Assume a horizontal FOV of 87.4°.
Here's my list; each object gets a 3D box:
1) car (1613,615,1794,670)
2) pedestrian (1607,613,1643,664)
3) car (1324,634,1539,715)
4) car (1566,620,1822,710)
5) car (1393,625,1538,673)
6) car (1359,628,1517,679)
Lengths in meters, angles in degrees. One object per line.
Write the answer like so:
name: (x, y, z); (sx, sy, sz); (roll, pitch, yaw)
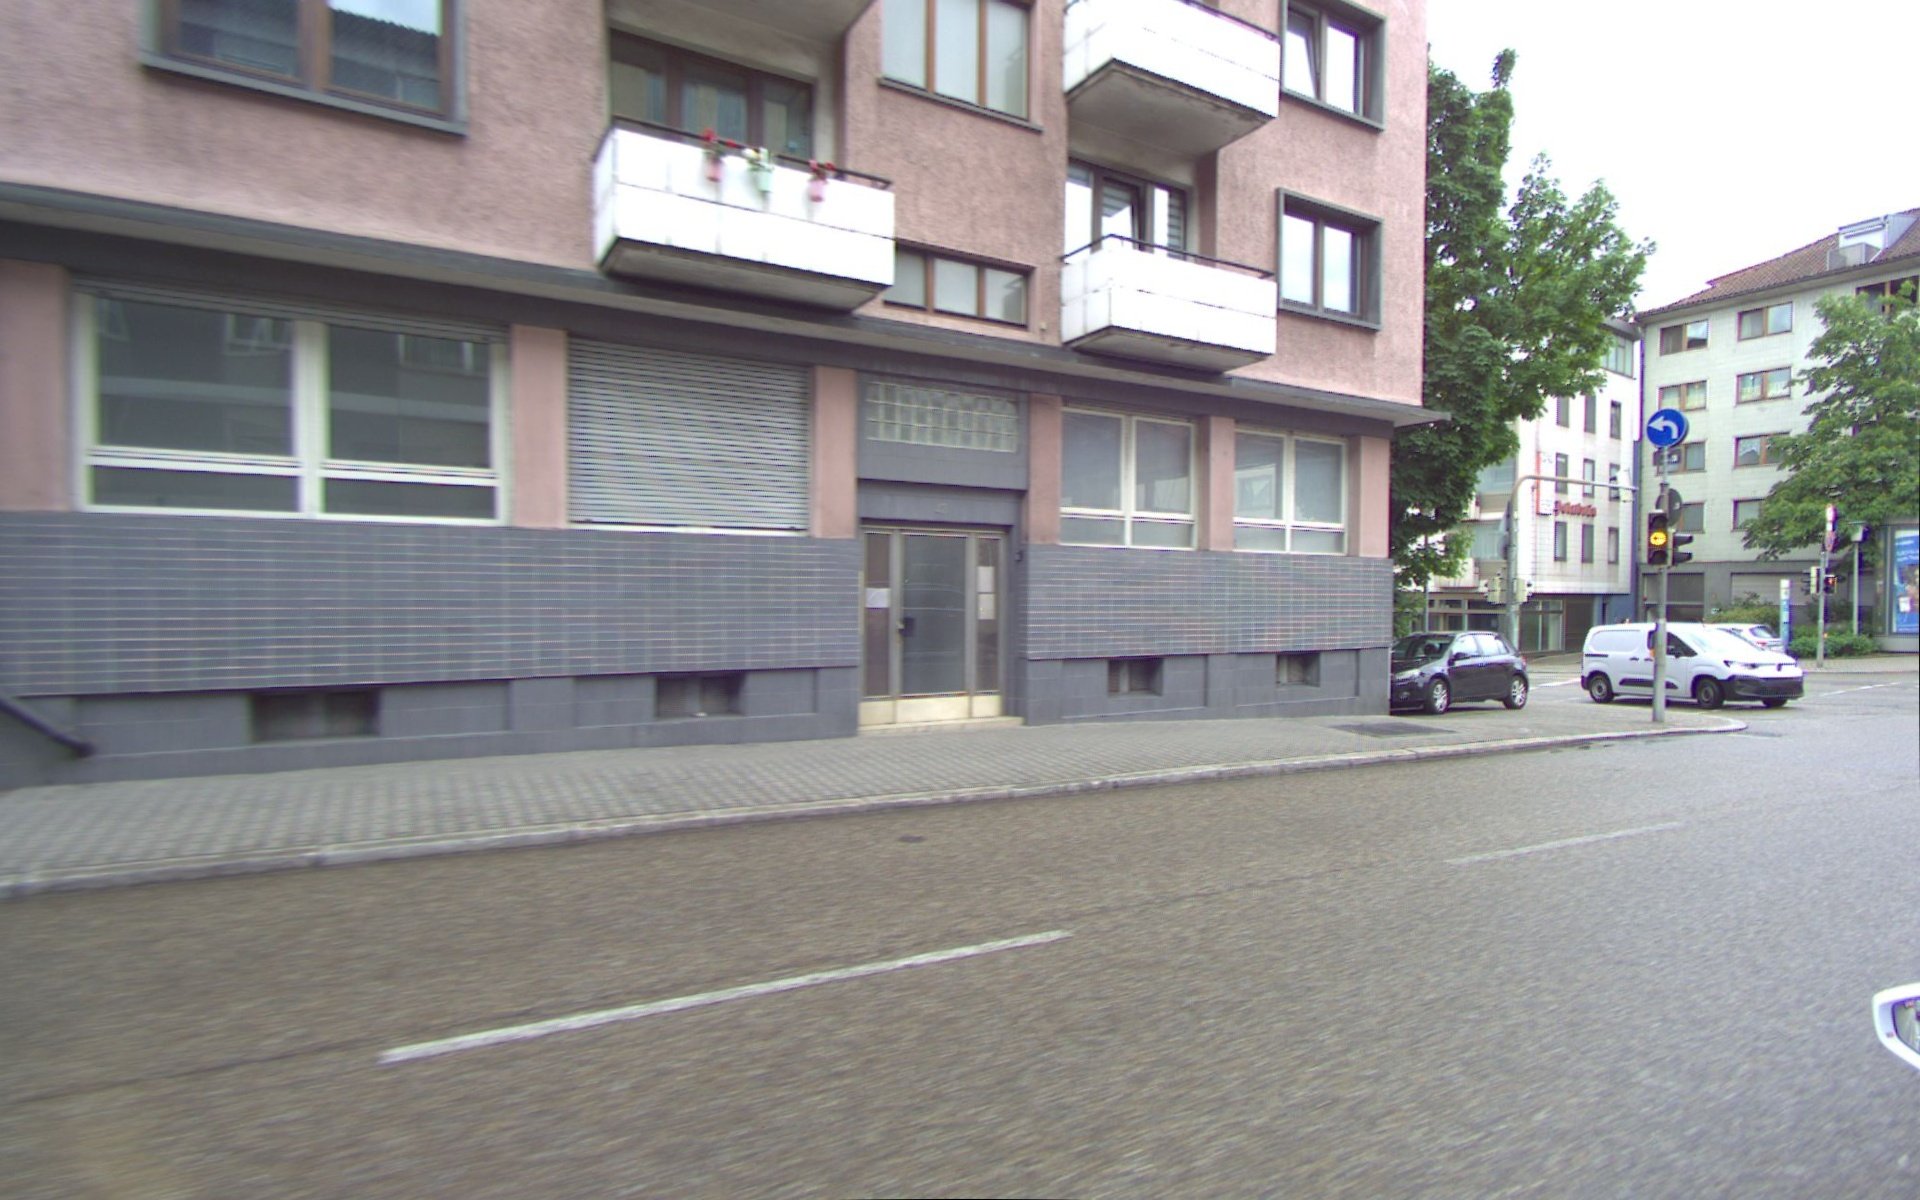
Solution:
car: (23.611, 1.308, 32.040); (2.004, 1.621, 4.228); (1, -1, -31)
pedestrian: (25.116, 1.435, 37.943); (0.740, 1.842, 0.917); (-2, 1, 0)
car: (8.833, 1.345, 18.768); (3.953, 1.377, 1.724); (2, -3, -30)
car: (15.901, 1.383, 22.125); (1.780, 1.737, 4.538); (0, -2, -11)
car: (18.059, 1.795, 36.089); (1.804, 1.557, 4.343); (0, -3, -32)
car: (15.308, 1.659, 32.413); (1.804, 1.497, 4.341); (0, -1, -32)
